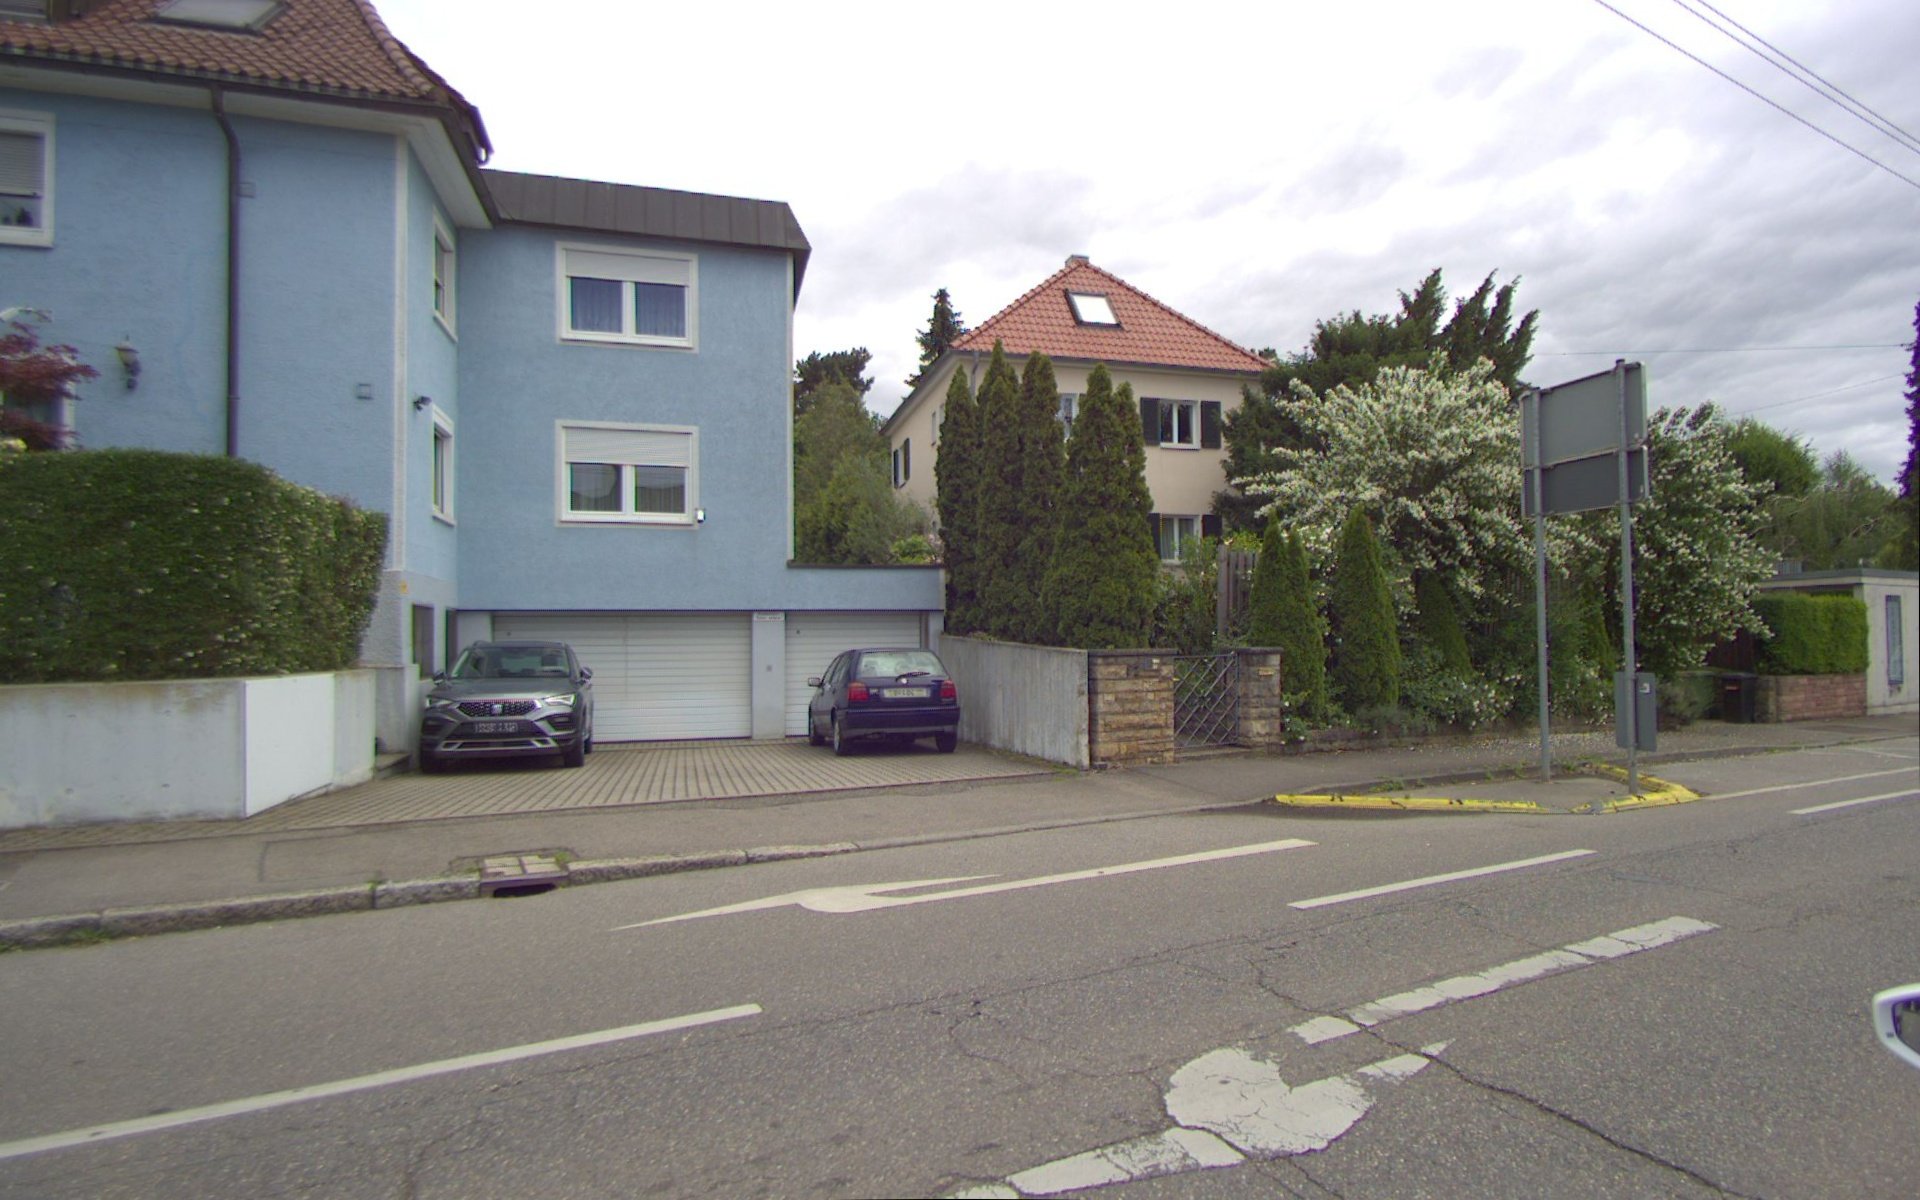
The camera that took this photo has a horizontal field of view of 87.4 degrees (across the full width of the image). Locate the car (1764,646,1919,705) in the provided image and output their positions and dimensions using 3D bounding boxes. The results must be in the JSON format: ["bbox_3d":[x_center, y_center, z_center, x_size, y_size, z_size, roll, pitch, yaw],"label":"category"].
[{"bbox_3d":[23.767,1.934,26.480,1.822,1.409,3.584,1,-2,-20],"label":"car"}]

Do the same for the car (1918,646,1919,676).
[{"bbox_3d":[18.825,1.510,17.633,4.363,1.474,1.801,2,-5,-32],"label":"car"}]

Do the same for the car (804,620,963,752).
[{"bbox_3d":[-1.206,1.188,14.327,1.615,1.612,3.590,1,-4,-15],"label":"car"}]

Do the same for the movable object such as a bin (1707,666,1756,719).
[{"bbox_3d":[14.536,1.732,18.928,0.501,0.954,0.538,2,-1,-17],"label":"movable object such as a bin"}]

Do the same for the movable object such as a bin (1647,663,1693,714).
[{"bbox_3d":[13.824,1.717,19.570,0.606,0.954,0.448,2,-1,-18],"label":"movable object such as a bin"}]

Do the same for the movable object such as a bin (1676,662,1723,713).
[{"bbox_3d":[14.478,1.705,19.667,0.501,0.954,0.538,2,-1,-17],"label":"movable object such as a bin"}]

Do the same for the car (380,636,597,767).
[{"bbox_3d":[-5.913,1.184,13.106,1.968,1.409,3.986,1,-2,-17],"label":"car"}]
